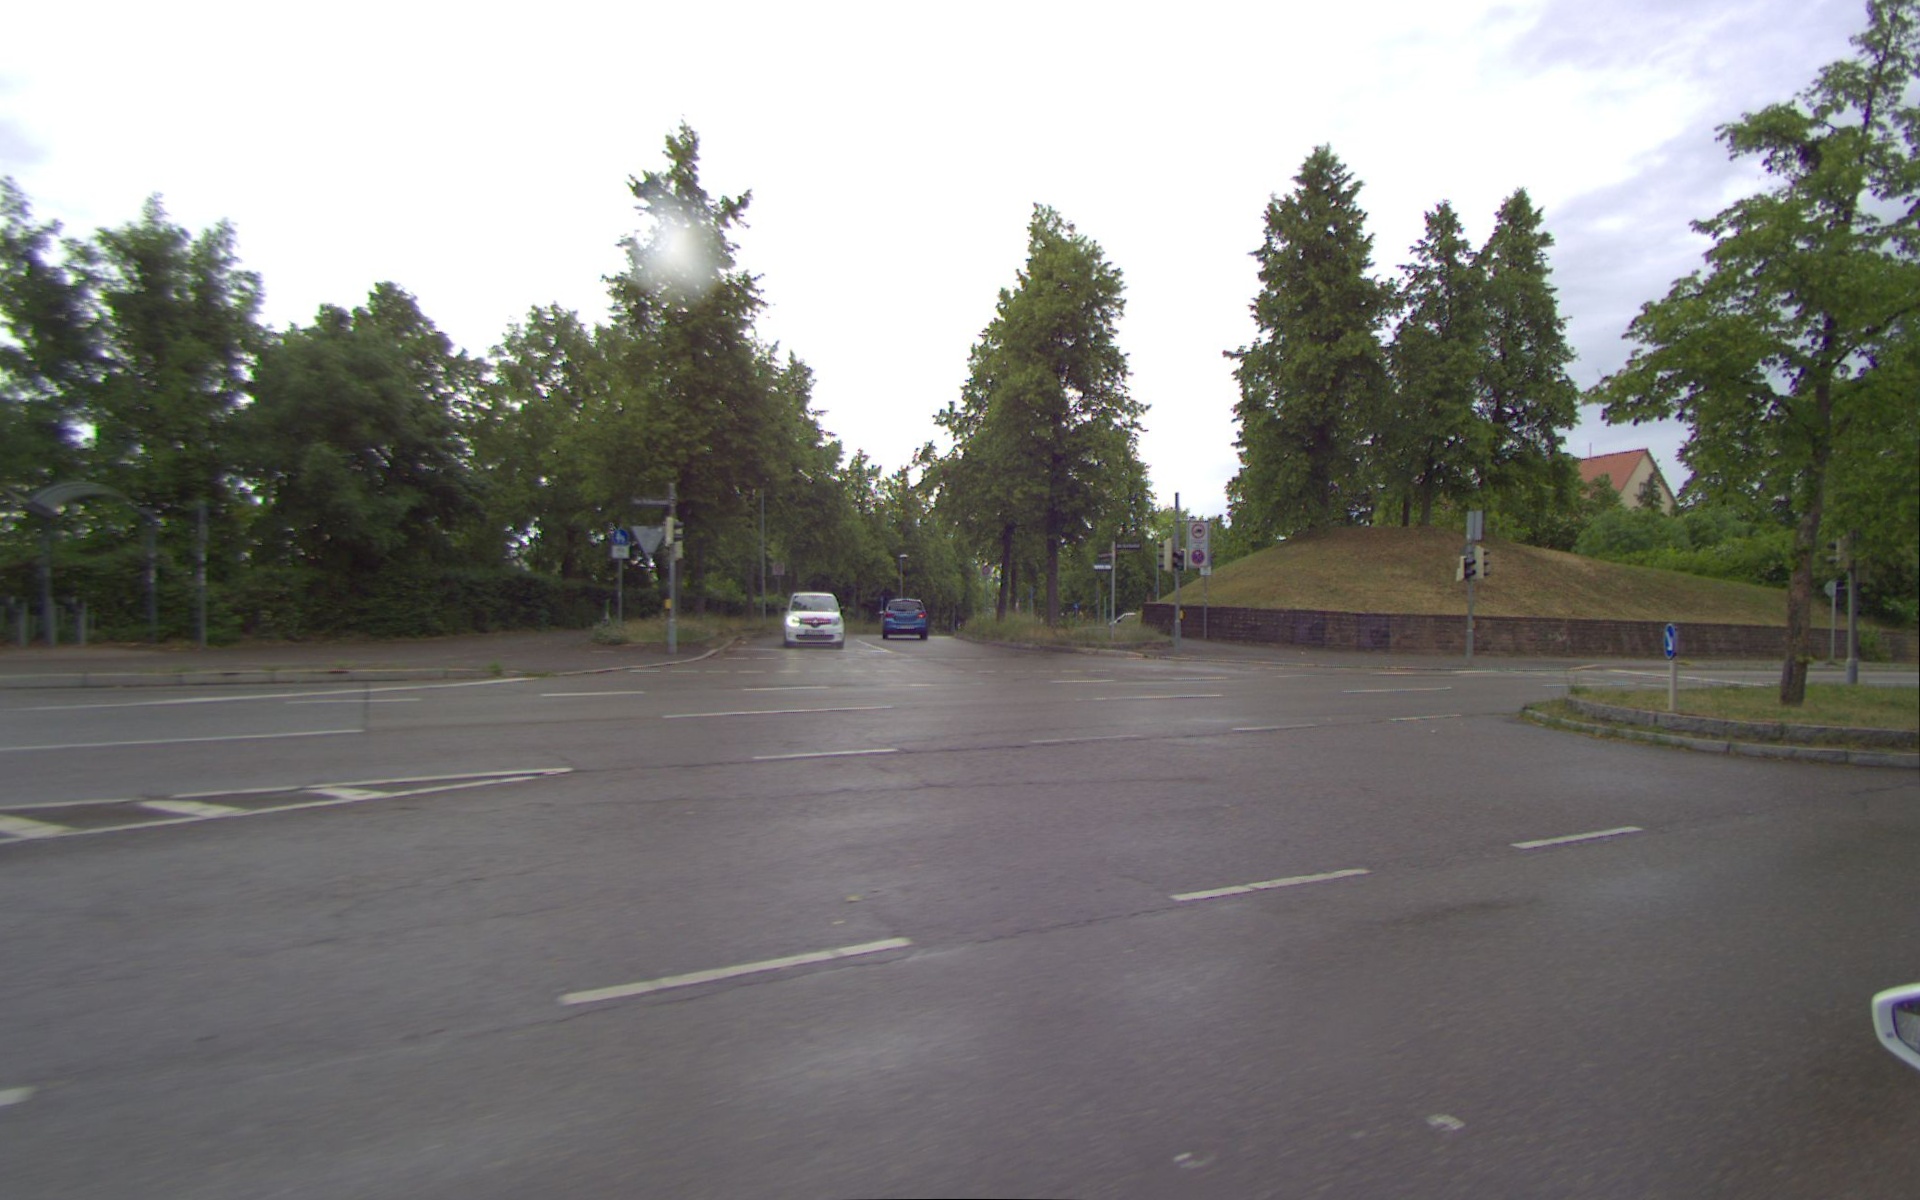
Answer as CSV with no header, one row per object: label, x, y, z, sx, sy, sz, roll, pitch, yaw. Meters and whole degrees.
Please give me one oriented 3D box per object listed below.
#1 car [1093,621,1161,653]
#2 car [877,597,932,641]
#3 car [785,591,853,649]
car,11.066,2.421,66.524,3.934,1.877,1.993,2,0,35
car,-2.147,0.672,38.061,1.962,1.510,3.934,2,0,-5
car,-4.116,0.529,28.902,1.731,1.498,3.690,2,0,-11
